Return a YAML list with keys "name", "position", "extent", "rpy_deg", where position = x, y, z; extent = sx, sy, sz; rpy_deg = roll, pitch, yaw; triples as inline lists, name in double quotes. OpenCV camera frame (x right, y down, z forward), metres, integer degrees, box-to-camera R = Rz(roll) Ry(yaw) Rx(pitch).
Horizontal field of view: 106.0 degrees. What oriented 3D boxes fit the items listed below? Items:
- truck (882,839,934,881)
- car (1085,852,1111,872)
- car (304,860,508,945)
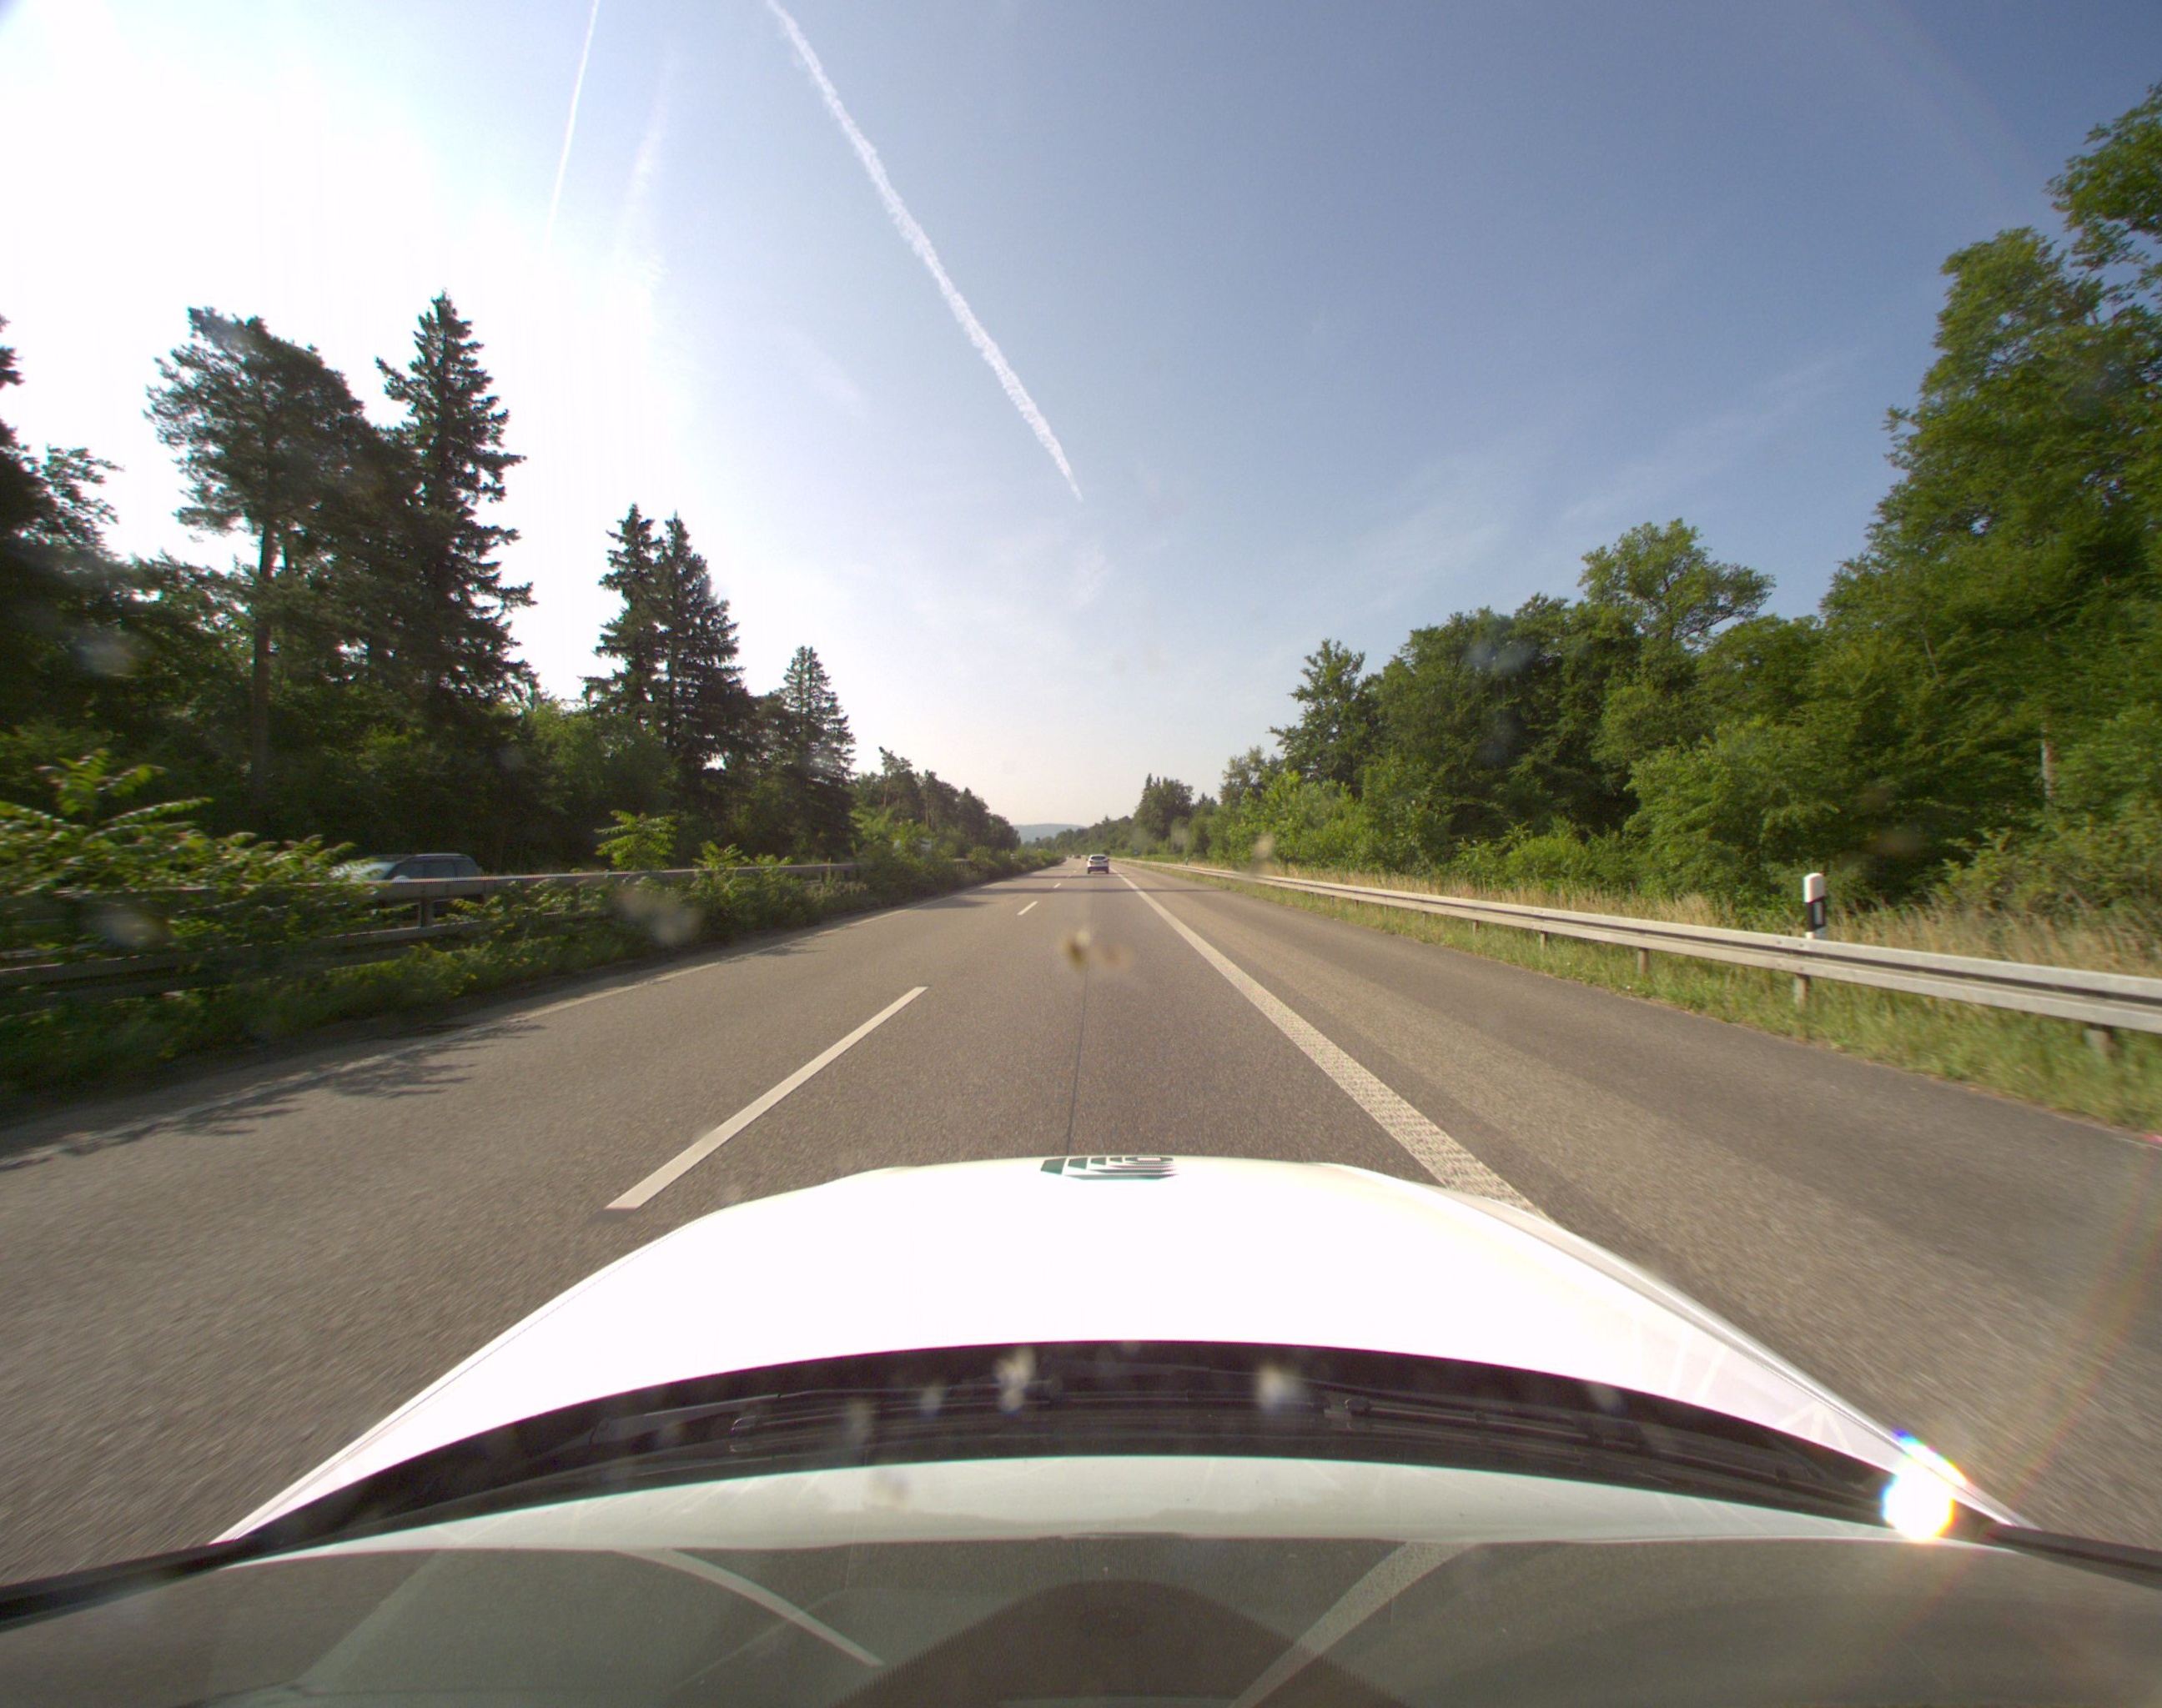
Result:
- name: "truck"
  position: [-14.097, 0.453, 66.838]
  extent: [2.454, 3.176, 7.228]
  rpy_deg: [-2, 0, 1]
- name: "car"
  position: [1.406, 0.663, 68.415]
  extent: [1.869, 1.586, 3.996]
  rpy_deg: [1, 0, -3]
- name: "car"
  position: [-14.907, 0.998, 18.259]
  extent: [1.645, 1.691, 3.504]
  rpy_deg: [0, 0, 0]
